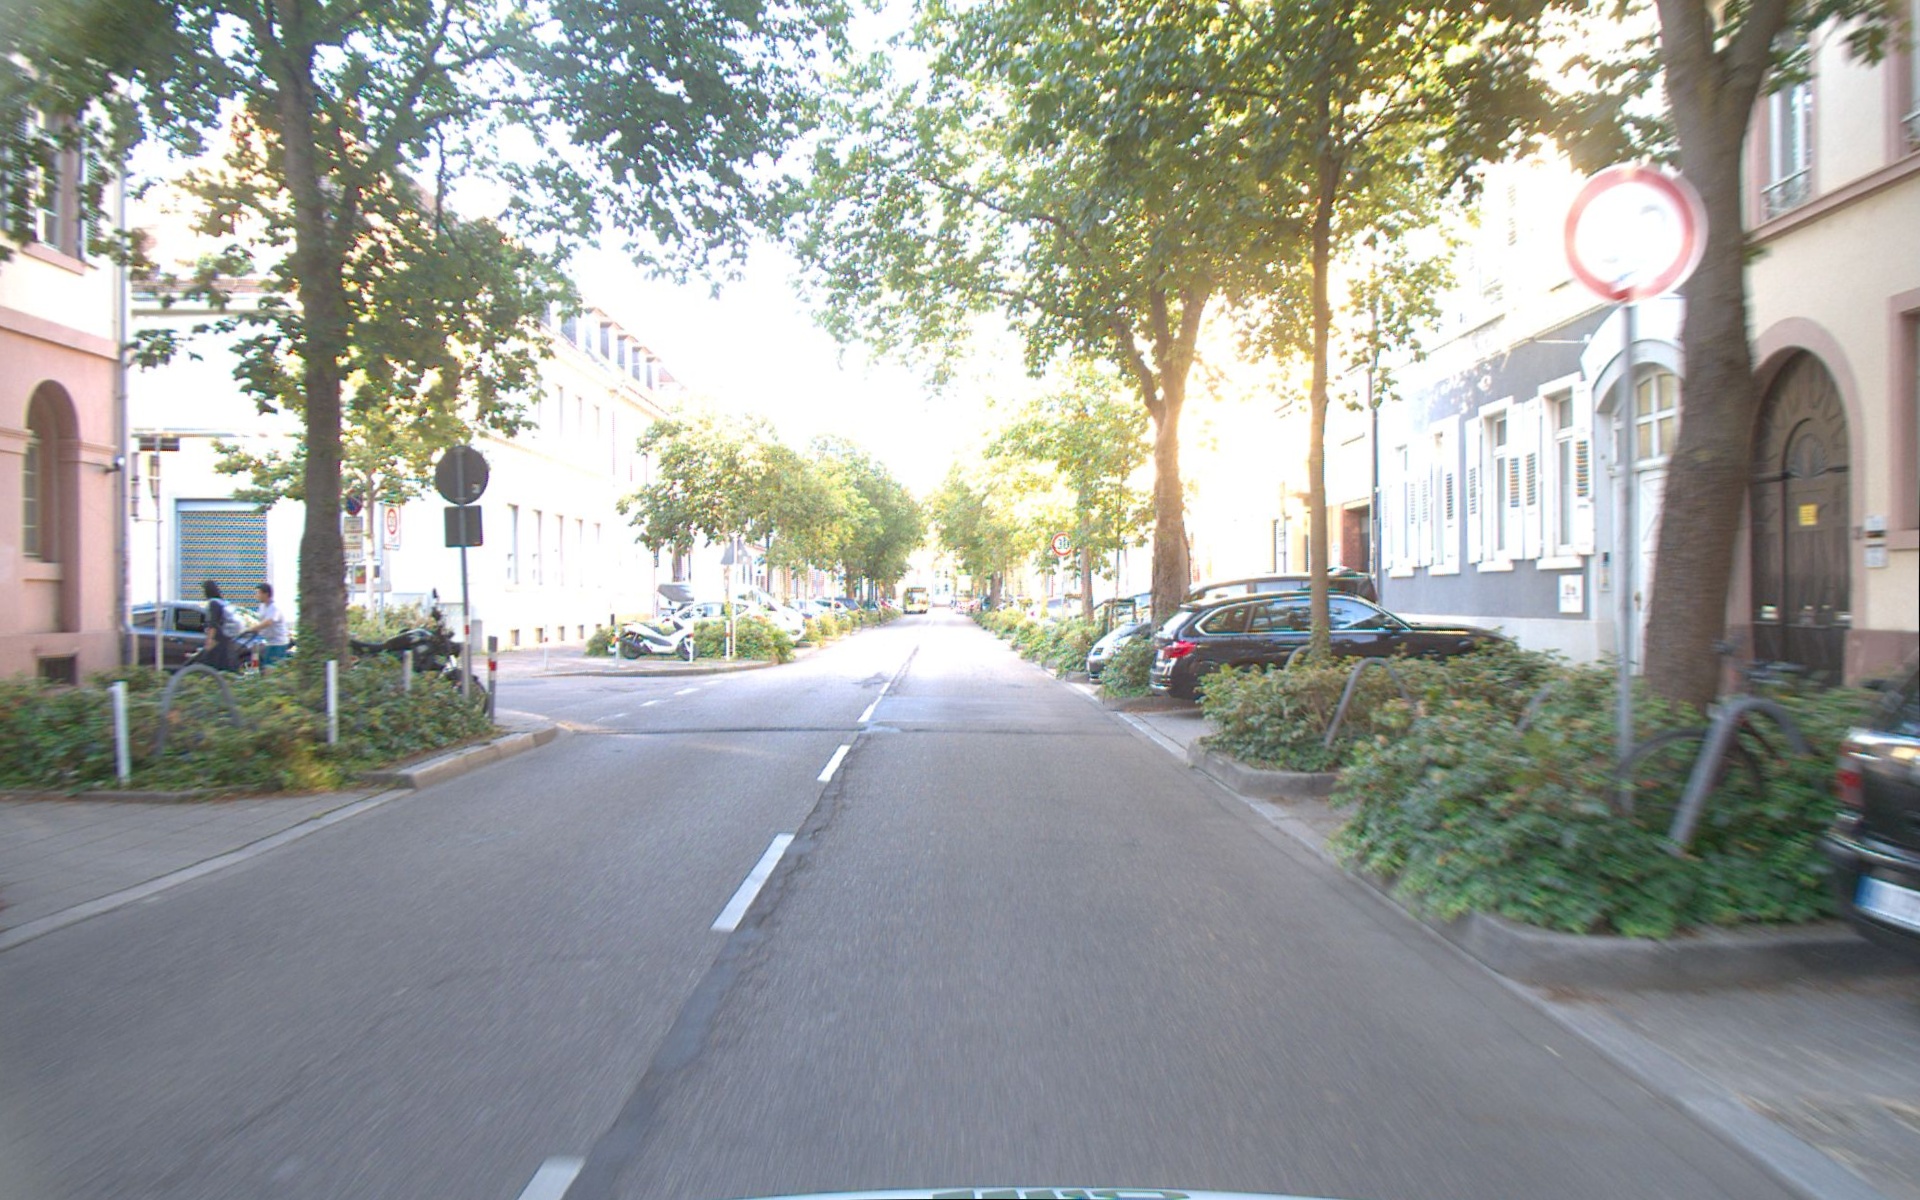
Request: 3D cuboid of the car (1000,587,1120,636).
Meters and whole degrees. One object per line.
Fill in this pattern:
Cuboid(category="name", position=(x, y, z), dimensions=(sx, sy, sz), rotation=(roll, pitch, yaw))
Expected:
Cuboid(category="car", position=(3.797, 0.442, 63.391), dimensions=(4.498, 1.792, 2.222), rotation=(-1, 0, 0))

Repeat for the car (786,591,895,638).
Cuboid(category="car", position=(-5.653, 0.676, 78.518), dimensions=(4.959, 2.119, 2.263), rotation=(-1, 0, 1))

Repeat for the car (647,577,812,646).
Cuboid(category="car", position=(-7.336, 0.359, 53.074), dimensions=(4.961, 2.119, 2.262), rotation=(-1, 0, -1))

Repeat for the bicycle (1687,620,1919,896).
Cuboid(category="bicycle", position=(4.094, 0.615, 6.801), dimensions=(1.975, 1.054, 0.585), rotation=(-1, 0, -4))

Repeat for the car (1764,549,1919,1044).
Cuboid(category="car", position=(4.886, 0.585, 5.131), dimensions=(3.933, 1.506, 1.780), rotation=(0, 0, -2))

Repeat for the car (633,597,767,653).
Cuboid(category="car", position=(-7.450, 0.705, 47.677), dimensions=(3.652, 1.534, 1.871), rotation=(-1, 0, -4))

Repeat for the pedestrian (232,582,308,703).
Cuboid(category="pedestrian", position=(-9.837, 0.594, 23.592), dimensions=(0.703, 1.693, 0.838), rotation=(-1, 0, 2))

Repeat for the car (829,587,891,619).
Cuboid(category="car", position=(-6.518, 0.169, 108.454), dimensions=(3.905, 2.049, 2.000), rotation=(-1, 0, 0))

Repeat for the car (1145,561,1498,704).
Cuboid(category="car", position=(4.378, 0.382, 20.430), dimensions=(3.933, 1.651, 1.780), rotation=(-1, 0, -2))

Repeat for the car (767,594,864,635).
Cuboid(category="car", position=(-7.770, 0.788, 89.388), dimensions=(4.960, 2.119, 2.263), rotation=(-1, 0, 0))

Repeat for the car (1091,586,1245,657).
Cuboid(category="car", position=(4.975, 0.510, 39.873), dimensions=(3.540, 1.655, 1.586), rotation=(-1, 0, 2))

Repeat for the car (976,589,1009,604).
Cuboid(category="car", position=(4.161, -0.432, 211.296), dimensions=(3.902, 1.803, 2.002), rotation=(-1, 0, 8))

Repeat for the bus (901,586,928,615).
Cuboid(category="bus", position=(-5.354, 0.026, 192.096), dimensions=(2.967, 3.246, 9.397), rotation=(0, 0, -3))

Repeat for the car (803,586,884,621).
Cuboid(category="car", position=(-7.411, 0.221, 105.462), dimensions=(4.960, 2.119, 2.263), rotation=(-1, 0, 0))

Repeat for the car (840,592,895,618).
Cuboid(category="car", position=(-6.759, 0.366, 121.522), dimensions=(3.904, 1.818, 1.796), rotation=(-1, 0, 1))

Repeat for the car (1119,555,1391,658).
Cuboid(category="car", position=(4.606, 0.098, 26.183), dimensions=(3.934, 1.443, 1.780), rotation=(-2, 0, -2))

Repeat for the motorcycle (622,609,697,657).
Cuboid(category="motorcycle", position=(-6.987, 0.765, 38.489), dimensions=(1.603, 1.087, 0.656), rotation=(1, 0, -1))

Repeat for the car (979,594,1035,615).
Cuboid(category="car", position=(3.324, 0.305, 118.336), dimensions=(3.907, 1.467, 1.696), rotation=(-1, 0, -2))

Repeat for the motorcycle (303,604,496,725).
Cuboid(category="motorcycle", position=(-6.058, 0.690, 17.920), dimensions=(1.880, 1.281, 0.591), rotation=(0, 0, -1))

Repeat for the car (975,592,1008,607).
Cuboid(category="car", position=(4.013, -0.087, 208.343), dimensions=(3.902, 1.803, 2.002), rotation=(-1, 0, 8))

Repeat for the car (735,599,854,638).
Cuboid(category="car", position=(-7.280, 0.817, 73.138), dimensions=(4.958, 1.645, 2.264), rotation=(-1, 0, 2))

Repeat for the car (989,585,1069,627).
Cuboid(category="car", position=(3.444, 0.297, 82.285), dimensions=(3.904, 2.049, 2.001), rotation=(0, 0, 2))

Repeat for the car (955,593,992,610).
Cuboid(category="car", position=(1.533, 0.199, 185.009), dimensions=(3.902, 1.870, 2.001), rotation=(0, 0, 7))

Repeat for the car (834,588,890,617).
Cuboid(category="car", position=(-7.044, 0.199, 119.336), dimensions=(3.904, 1.848, 1.904), rotation=(-1, -6, 2))

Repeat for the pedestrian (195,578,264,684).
Cuboid(category="pedestrian", position=(-9.972, 0.416, 22.588), dimensions=(0.641, 1.419, 0.607), rotation=(1, -1, -1))

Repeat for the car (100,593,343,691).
Cuboid(category="car", position=(-12.062, 0.677, 27.137), dimensions=(3.322, 1.530, 1.461), rotation=(-1, 0, 0))

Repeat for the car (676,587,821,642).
Cuboid(category="car", position=(-7.737, 0.511, 60.871), dimensions=(4.959, 1.855, 2.264), rotation=(-1, 3, 1))
